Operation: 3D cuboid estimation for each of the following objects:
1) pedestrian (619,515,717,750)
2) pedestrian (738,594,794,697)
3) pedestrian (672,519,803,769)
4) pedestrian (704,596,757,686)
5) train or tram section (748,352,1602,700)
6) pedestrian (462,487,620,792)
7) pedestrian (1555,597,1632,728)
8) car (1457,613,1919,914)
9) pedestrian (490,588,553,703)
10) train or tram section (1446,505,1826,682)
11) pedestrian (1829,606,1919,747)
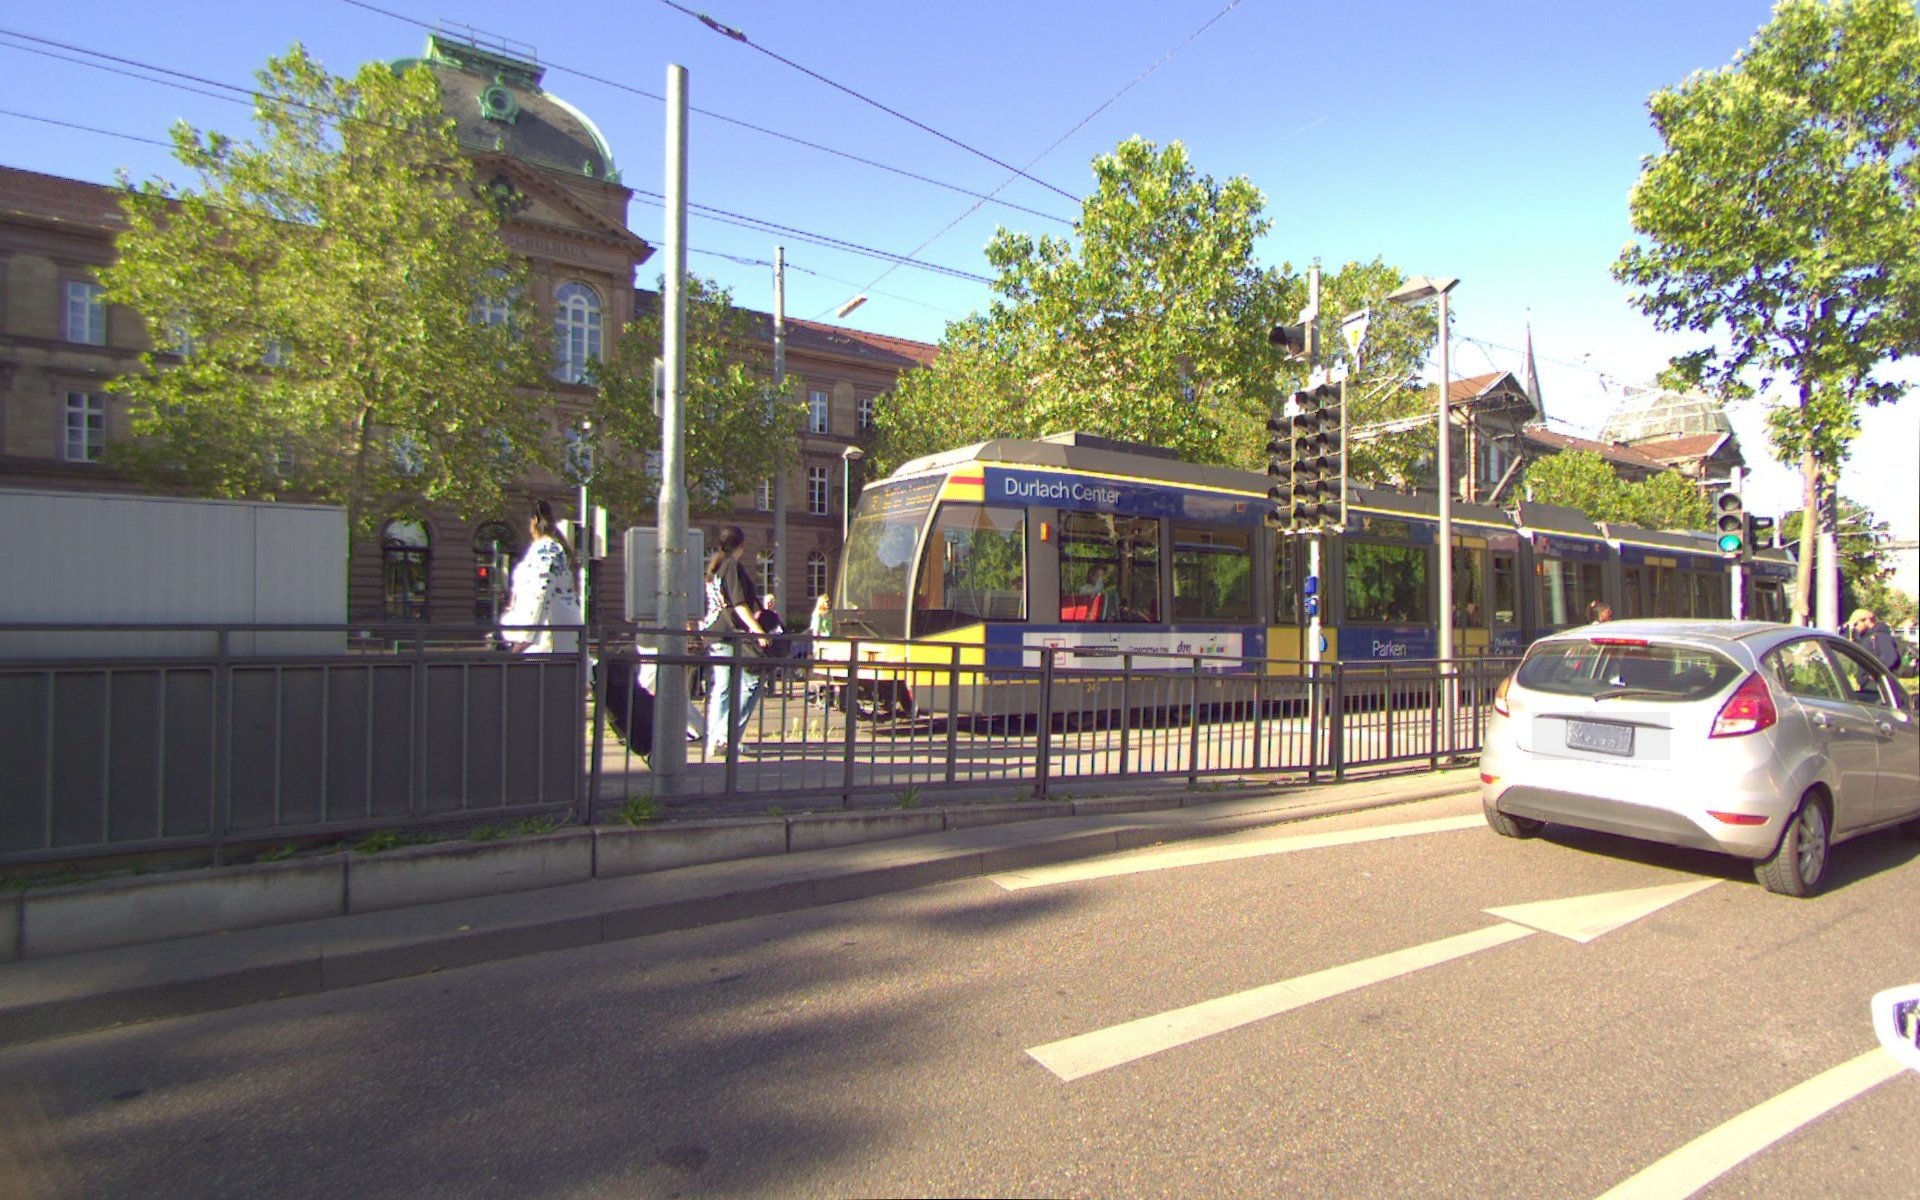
[{"bbox_3d":[-2.266,0.248,7.784,0.541,1.724,0.604,1,-2,-37],"label":"pedestrian"},{"bbox_3d":[-3.241,0.747,16.739,0.703,1.672,0.626,1,-1,-38],"label":"pedestrian"},{"bbox_3d":[-1.642,0.317,7.411,0.740,1.724,0.628,1,-2,-38],"label":"pedestrian"},{"bbox_3d":[-4.144,0.729,18.152,0.770,1.582,0.705,1,-1,-27],"label":"pedestrian"},{"bbox_3d":[4.738,-0.436,15.348,15.739,3.303,2.894,3,0,-36],"label":"train or tram section"},{"bbox_3d":[-2.449,0.233,5.862,0.635,1.640,0.635,4,-3,-37],"label":"pedestrian"},{"bbox_3d":[7.865,0.759,12.475,0.641,1.577,0.626,1,-1,-38],"label":"pedestrian"},{"bbox_3d":[5.064,0.851,6.546,3.593,1.428,1.651,2,0,-33],"label":"car"},{"bbox_3d":[-6.644,0.680,15.220,0.700,1.686,0.629,-1,-1,42],"label":"pedestrian"},{"bbox_3d":[16.393,0.093,23.649,12.982,3.303,2.895,3,0,-35],"label":"train or tram section"},{"bbox_3d":[11.343,0.915,12.339,0.624,1.651,0.932,1,-1,-42],"label":"pedestrian"}]
